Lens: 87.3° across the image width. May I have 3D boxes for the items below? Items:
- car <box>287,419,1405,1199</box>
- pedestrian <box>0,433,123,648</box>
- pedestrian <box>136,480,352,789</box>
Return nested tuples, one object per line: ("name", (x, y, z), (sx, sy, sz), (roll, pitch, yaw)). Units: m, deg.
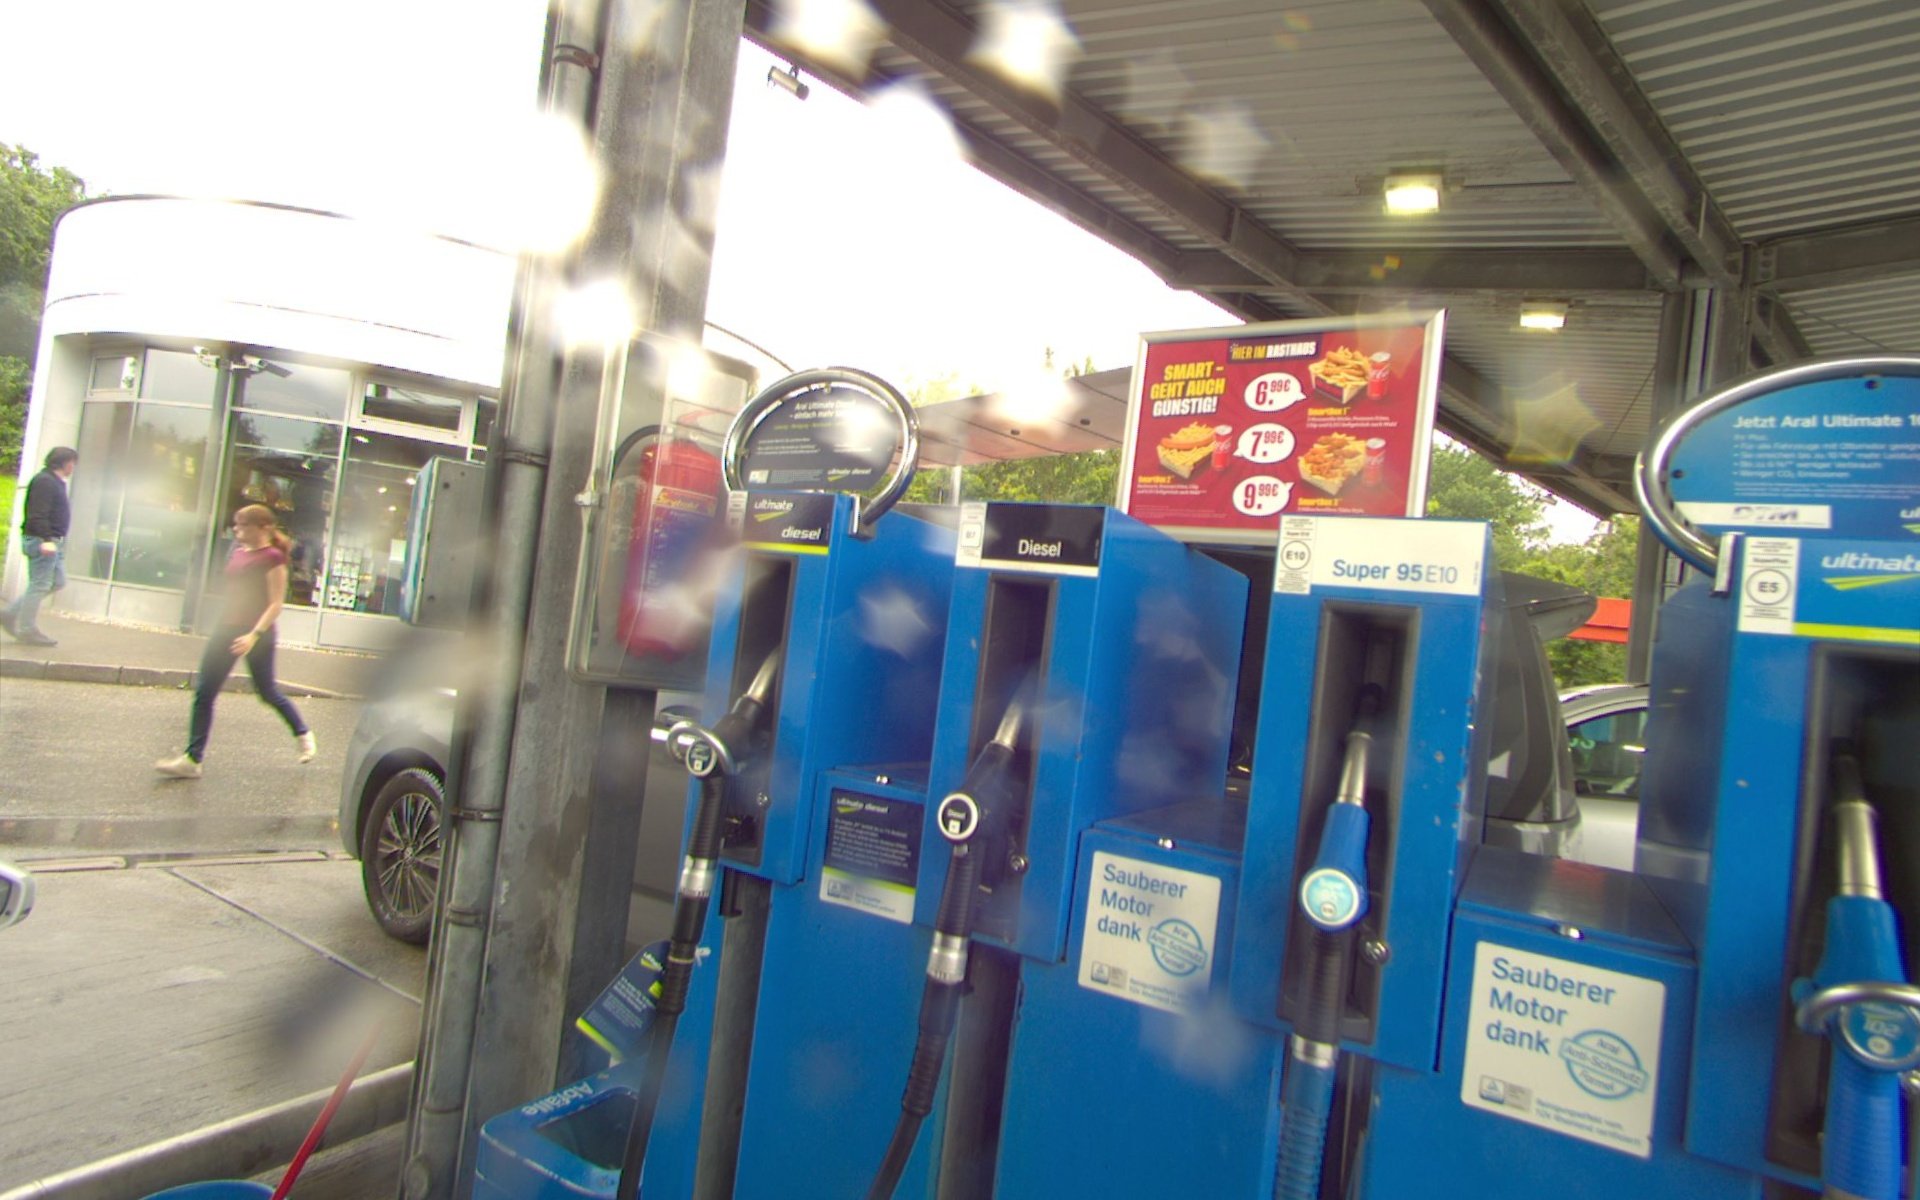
("car", (-0.595, 0.501, 3.991), (3.934, 1.971, 1.819), (7, -1, 32))
("pedestrian", (-8.748, -0.562, 9.508), (0.990, 1.887, 0.793), (7, 0, -30))
("pedestrian", (-4.463, 0.217, 6.353), (0.786, 1.755, 0.835), (7, 0, -23))
